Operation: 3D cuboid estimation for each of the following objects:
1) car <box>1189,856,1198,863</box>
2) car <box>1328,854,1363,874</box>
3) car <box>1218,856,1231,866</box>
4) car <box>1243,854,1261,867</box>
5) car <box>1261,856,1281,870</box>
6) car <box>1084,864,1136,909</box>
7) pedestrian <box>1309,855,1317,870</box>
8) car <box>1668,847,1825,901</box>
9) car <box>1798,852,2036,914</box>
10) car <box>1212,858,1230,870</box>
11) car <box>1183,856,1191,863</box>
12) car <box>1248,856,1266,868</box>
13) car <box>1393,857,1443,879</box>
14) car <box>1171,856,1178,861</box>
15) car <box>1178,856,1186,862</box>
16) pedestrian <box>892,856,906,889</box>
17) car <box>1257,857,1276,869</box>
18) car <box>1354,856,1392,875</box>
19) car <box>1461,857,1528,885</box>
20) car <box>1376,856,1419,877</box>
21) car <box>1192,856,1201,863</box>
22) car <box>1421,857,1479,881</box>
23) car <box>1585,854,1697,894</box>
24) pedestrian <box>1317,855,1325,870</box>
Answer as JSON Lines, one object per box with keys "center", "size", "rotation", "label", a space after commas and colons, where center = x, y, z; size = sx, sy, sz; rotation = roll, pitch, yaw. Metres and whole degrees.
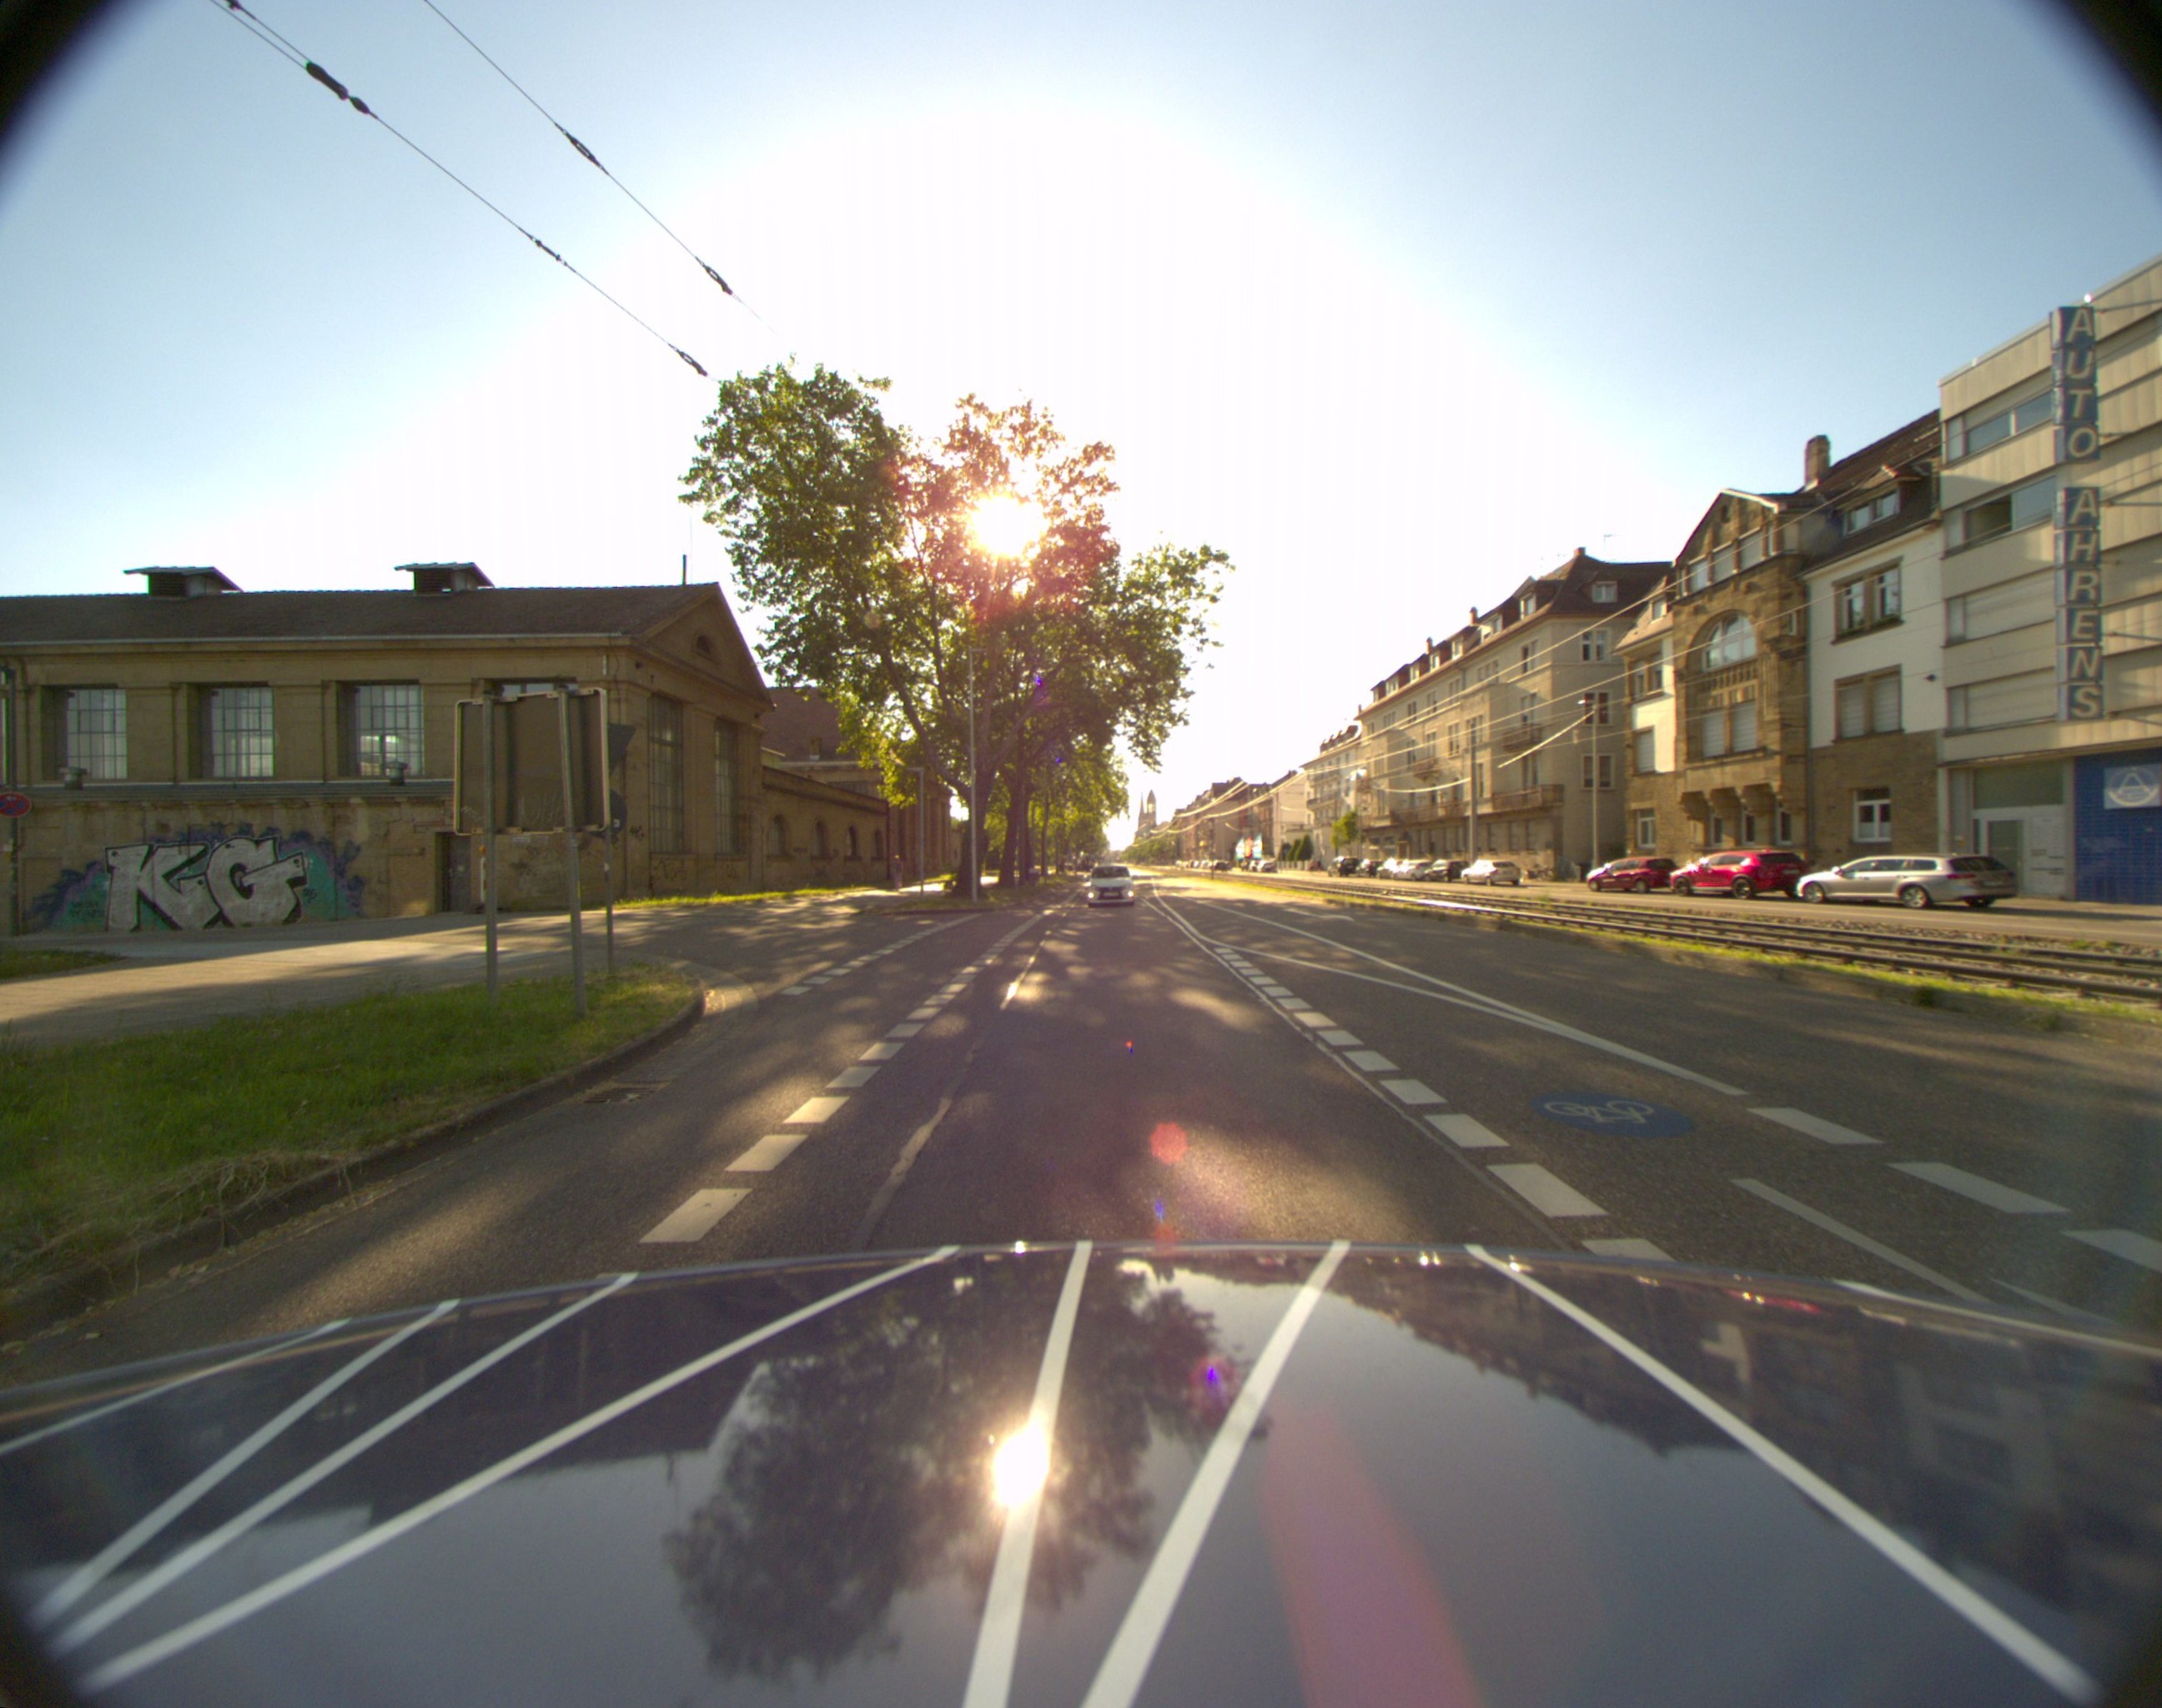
{"center": [26.181, 1.292, 176.543], "size": [1.624, 1.581, 3.450], "rotation": [-2, 0, 1], "label": "car"}
{"center": [24.212, 0.915, 69.733], "size": [1.875, 1.726, 3.916], "rotation": [-2, 0, 2], "label": "car"}
{"center": [24.968, 1.232, 132.297], "size": [1.624, 1.581, 3.450], "rotation": [-2, 0, 1], "label": "car"}
{"center": [25.226, 0.971, 112.199], "size": [1.727, 1.776, 3.881], "rotation": [-2, 0, 1], "label": "car"}
{"center": [24.056, 1.140, 96.173], "size": [1.677, 1.622, 3.408], "rotation": [-2, 0, 2], "label": "car"}
{"center": [1.010, 1.116, 27.505], "size": [1.686, 1.462, 4.056], "rotation": [-2, -1, 1], "label": "car"}
{"center": [26.941, 1.020, 88.307], "size": [0.725, 1.779, 0.678], "rotation": [0, 0, 1], "label": "pedestrian"}
{"center": [23.323, 0.676, 26.898], "size": [1.860, 1.677, 4.264], "rotation": [-3, 0, 2], "label": "car"}
{"center": [23.274, 0.744, 21.468], "size": [1.861, 1.490, 4.382], "rotation": [-3, 0, 0], "label": "car"}
{"center": [19.766, 1.395, 107.422], "size": [1.822, 1.674, 4.001], "rotation": [-1, 0, 2], "label": "car"}
{"center": [25.731, 1.323, 184.243], "size": [1.624, 1.581, 3.450], "rotation": [-2, 0, 1], "label": "car"}
{"center": [24.702, 1.165, 106.785], "size": [1.684, 1.562, 3.389], "rotation": [-2, 0, 1], "label": "car"}
{"center": [23.600, 0.968, 53.381], "size": [1.642, 1.438, 3.538], "rotation": [-2, 0, -6], "label": "car"}
{"center": [27.151, 1.347, 221.667], "size": [1.624, 1.581, 3.450], "rotation": [-2, 0, 1], "label": "car"}
{"center": [25.916, 1.337, 194.831], "size": [1.624, 1.581, 3.450], "rotation": [-2, 0, 1], "label": "car"}
{"center": [-9.309, 0.921, 38.841], "size": [0.673, 1.652, 0.873], "rotation": [0, 0, -15], "label": "pedestrian"}
{"center": [24.742, 1.177, 101.465], "size": [1.684, 1.562, 3.389], "rotation": [-2, 0, 1], "label": "car"}
{"center": [24.666, 0.966, 64.245], "size": [1.802, 1.470, 3.823], "rotation": [-2, 0, 2], "label": "car"}
{"center": [23.785, 0.945, 43.887], "size": [1.802, 1.470, 3.823], "rotation": [-2, 0, 2], "label": "car"}
{"center": [24.225, 0.929, 58.315], "size": [1.802, 1.470, 3.823], "rotation": [-2, 0, 2], "label": "car"}
{"center": [26.129, 1.294, 171.709], "size": [1.624, 1.581, 3.450], "rotation": [-2, 0, 1], "label": "car"}
{"center": [23.878, 0.934, 49.338], "size": [1.802, 1.422, 3.823], "rotation": [-2, 0, -1], "label": "car"}
{"center": [23.477, 0.810, 32.037], "size": [1.756, 1.487, 3.729], "rotation": [-3, 0, -5], "label": "car"}
{"center": [27.806, 1.001, 88.114], "size": [0.725, 1.779, 0.678], "rotation": [0, 0, 1], "label": "pedestrian"}
